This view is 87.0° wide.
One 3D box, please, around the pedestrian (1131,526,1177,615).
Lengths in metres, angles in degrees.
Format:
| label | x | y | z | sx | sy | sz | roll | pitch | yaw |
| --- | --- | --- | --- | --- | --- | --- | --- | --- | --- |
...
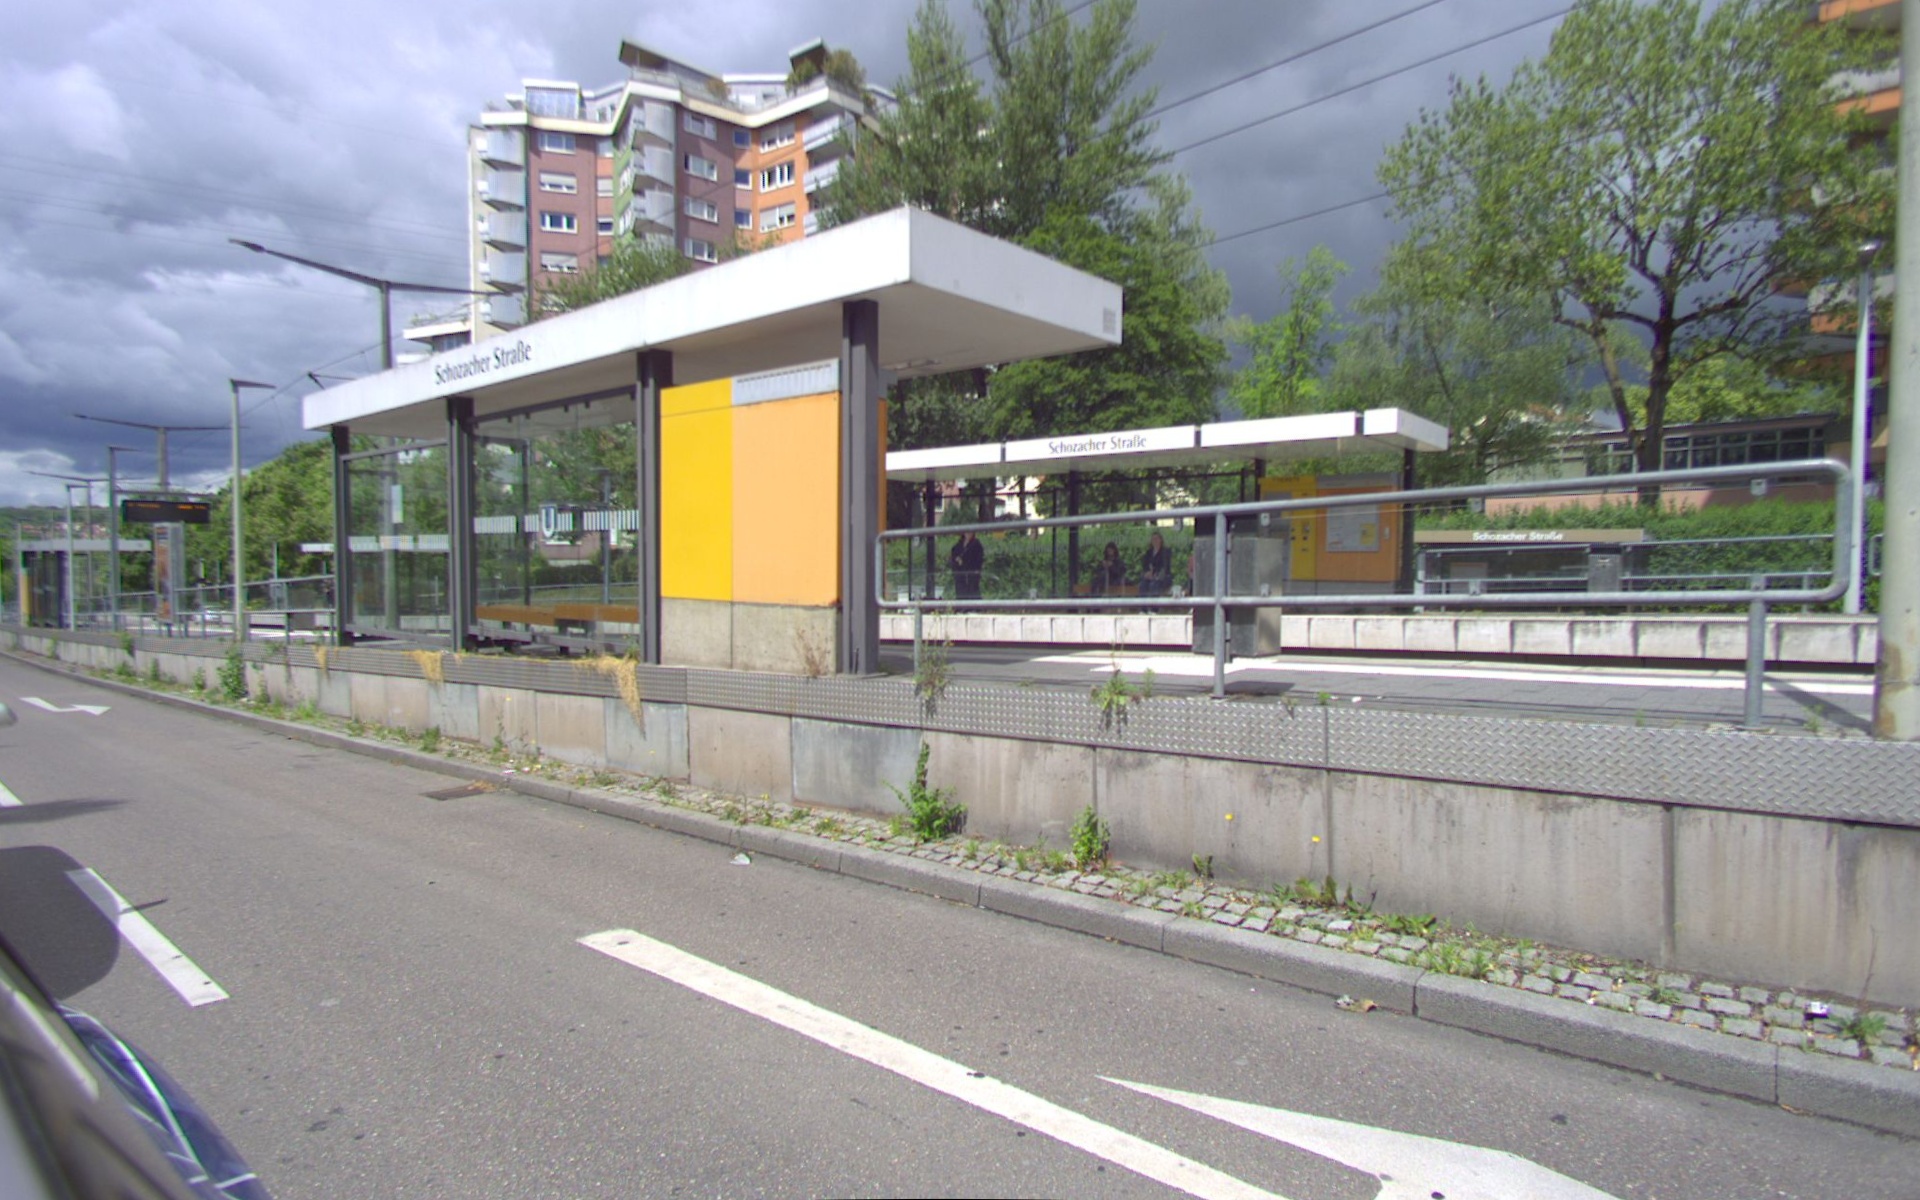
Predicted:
| label | x | y | z | sx | sy | sz | roll | pitch | yaw |
| --- | --- | --- | --- | --- | --- | --- | --- | --- | --- |
| pedestrian | 3.204 | -0.480 | 16.693 | 0.463 | 1.428 | 0.704 | -1 | 0 | 40 |

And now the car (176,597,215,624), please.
| label | x | y | z | sx | sy | sz | roll | pitch | yaw |
| --- | --- | --- | --- | --- | --- | --- | --- | --- | --- |
| car | -60.456 | 0.832 | 80.008 | 4.000 | 2.029 | 1.714 | -1 | 0 | 43 |

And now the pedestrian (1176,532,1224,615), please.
| label | x | y | z | sx | sy | sz | roll | pitch | yaw |
| --- | --- | --- | --- | --- | --- | --- | --- | --- | --- |
| pedestrian | 3.828 | -0.417 | 16.139 | 0.463 | 1.287 | 0.704 | -1 | 0 | 40 |

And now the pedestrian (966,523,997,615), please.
| label | x | y | z | sx | sy | sz | roll | pitch | yaw |
| --- | --- | --- | --- | --- | --- | --- | --- | --- | --- |
| pedestrian | 0.401 | -0.583 | 19.107 | 0.544 | 1.726 | 0.386 | -1 | 0 | -2 |

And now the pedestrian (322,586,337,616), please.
| label | x | y | z | sx | sy | sz | roll | pitch | yaw |
| --- | --- | --- | --- | --- | --- | --- | --- | --- | --- |
| pedestrian | -27.677 | 0.041 | 44.412 | 0.527 | 1.287 | 0.563 | -1 | 0 | -28 |

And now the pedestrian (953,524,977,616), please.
| label | x | y | z | sx | sy | sz | roll | pitch | yaw |
| --- | --- | --- | --- | --- | --- | --- | --- | --- | --- |
| pedestrian | 0.092 | -0.563 | 19.121 | 0.421 | 1.726 | 0.353 | -1 | 0 | -1 |

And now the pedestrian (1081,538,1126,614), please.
| label | x | y | z | sx | sy | sz | roll | pitch | yaw |
| --- | --- | --- | --- | --- | --- | --- | --- | --- | --- |
| pedestrian | 2.488 | -0.400 | 17.493 | 0.463 | 1.287 | 0.704 | -1 | 0 | 40 |
